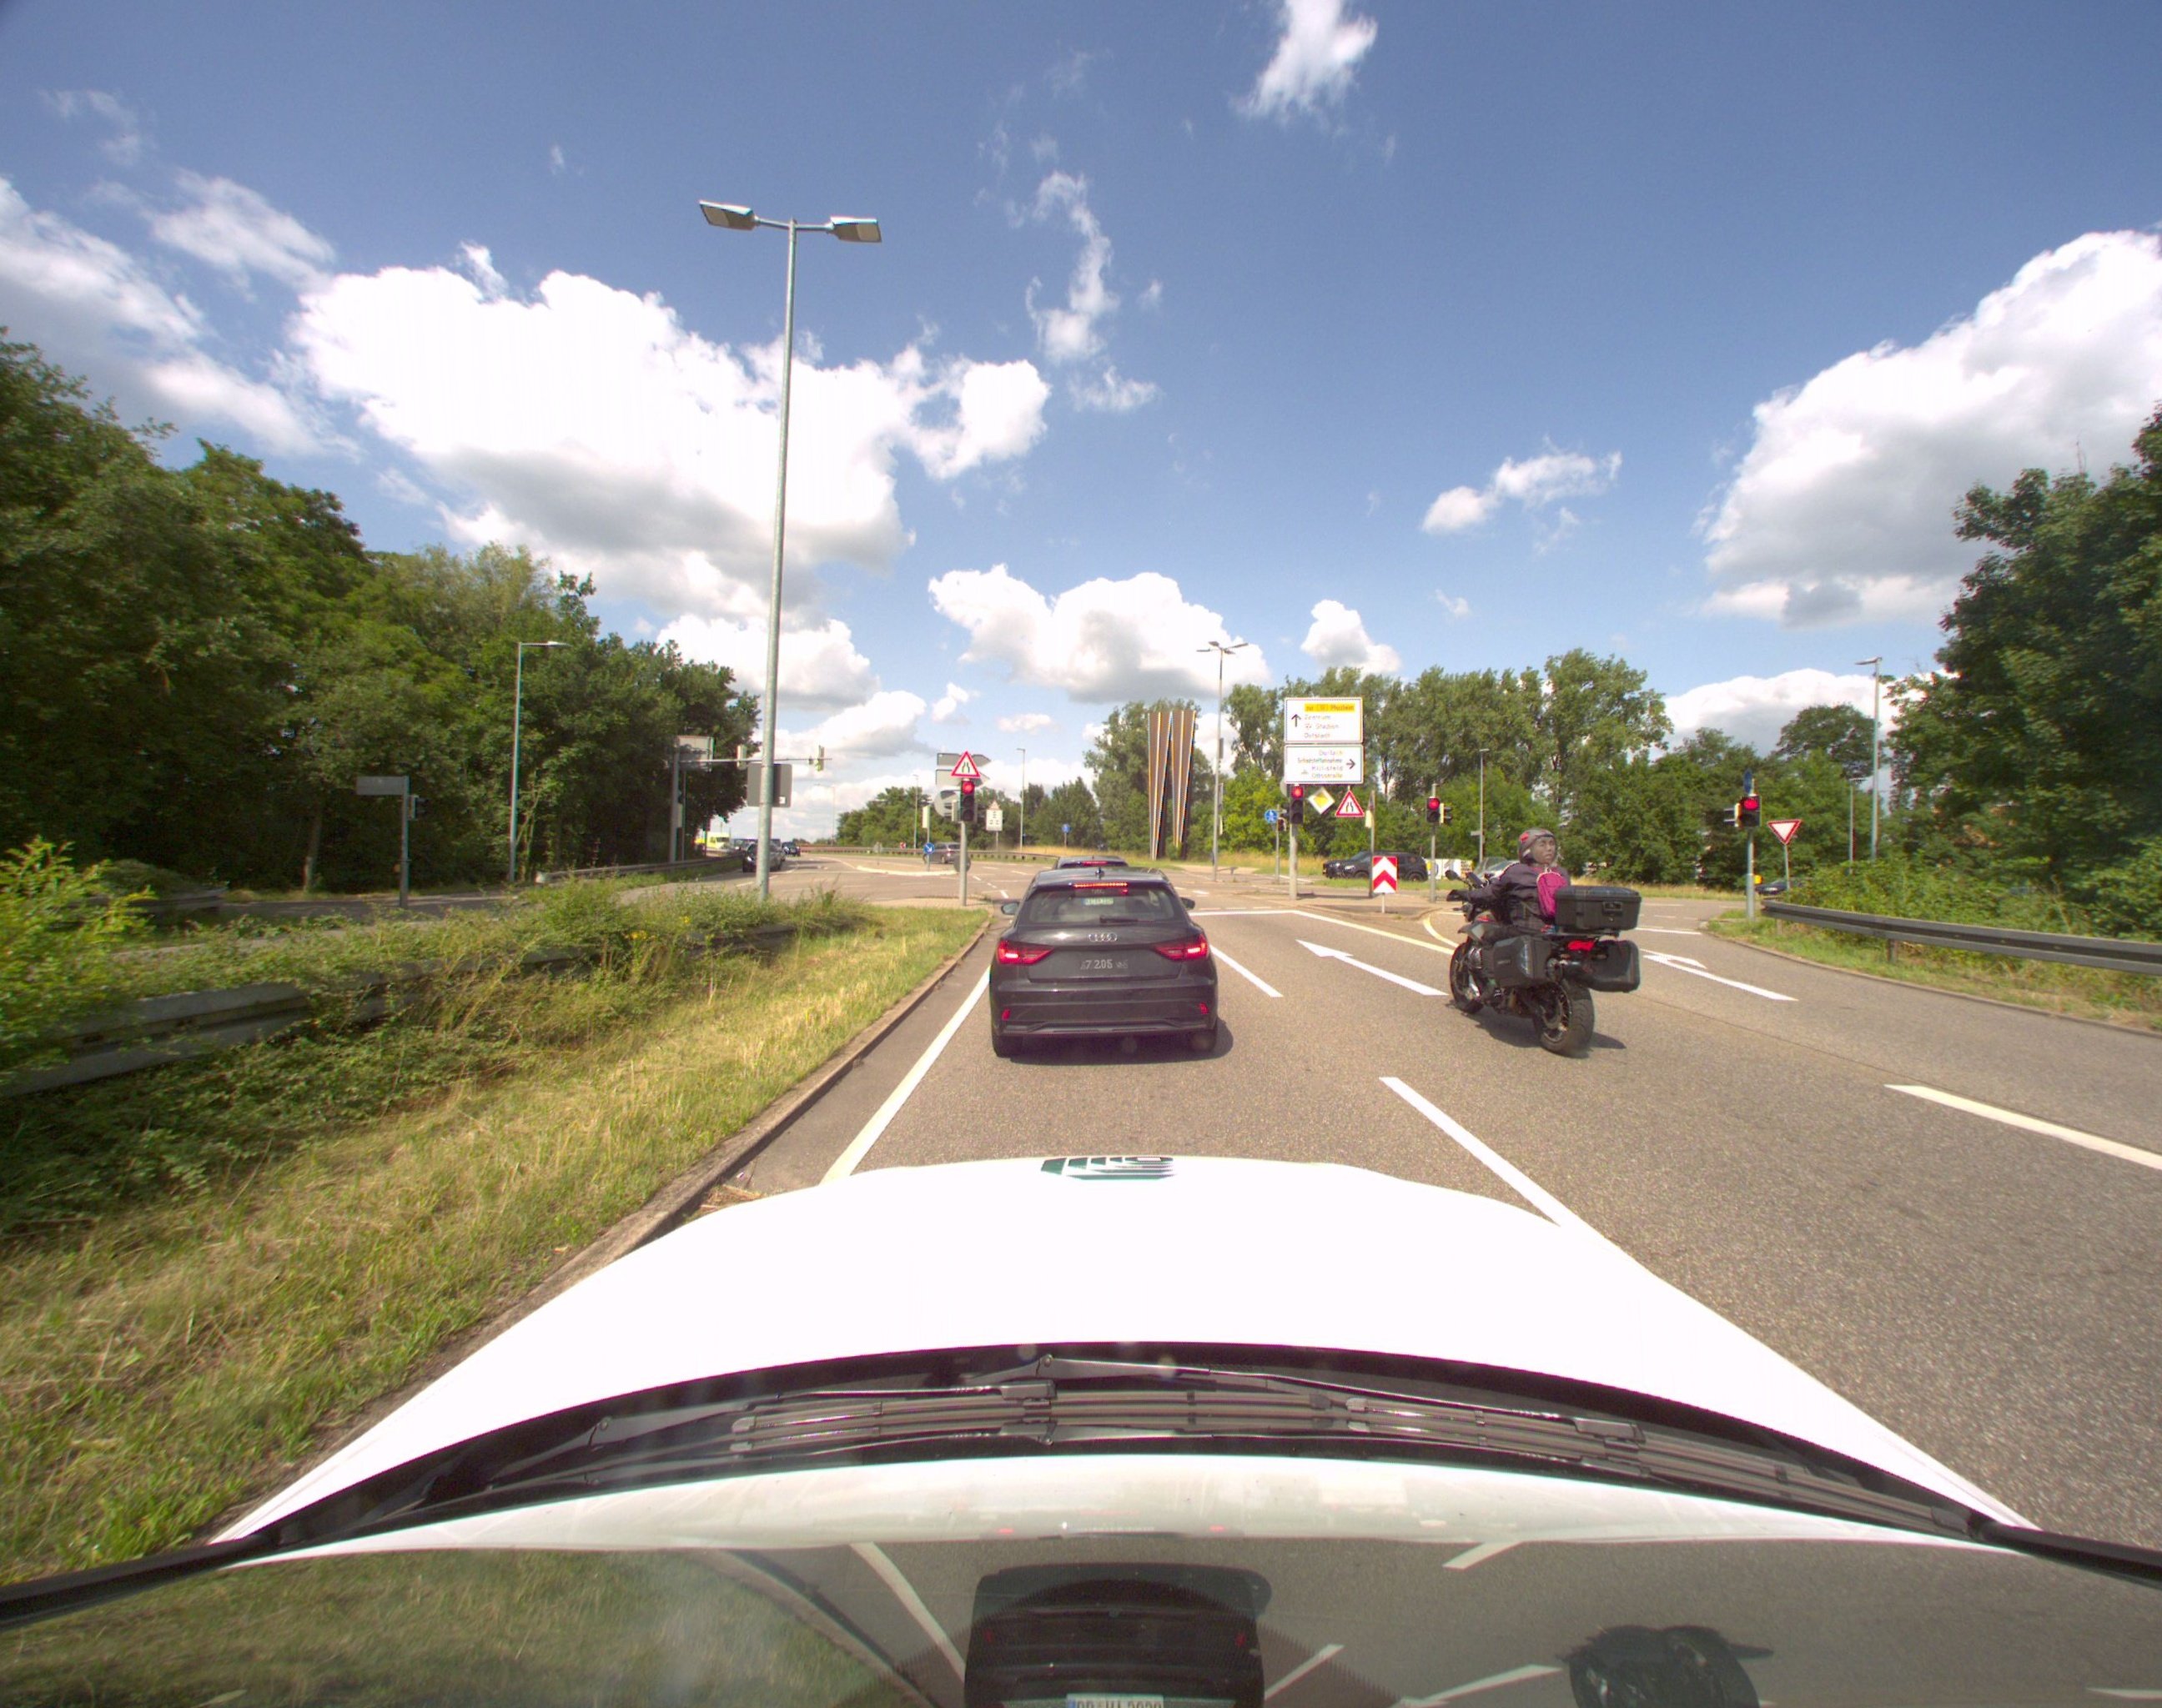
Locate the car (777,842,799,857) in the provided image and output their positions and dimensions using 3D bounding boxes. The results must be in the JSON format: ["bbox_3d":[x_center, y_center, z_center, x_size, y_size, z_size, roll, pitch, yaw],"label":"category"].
[{"bbox_3d":[-30.941,-0.506,86.014,1.741,1.496,4.011,1,0,-27],"label":"car"}]

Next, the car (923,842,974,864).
[{"bbox_3d":[-9.555,-0.086,58.632,2.009,1.496,4.075,1,0,-36],"label":"car"}]

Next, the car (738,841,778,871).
[{"bbox_3d":[-18.259,0.129,46.167,1.844,1.618,3.974,0,-1,-19],"label":"car"}]

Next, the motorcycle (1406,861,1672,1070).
[{"bbox_3d":[3.592,0.770,6.731,0.933,1.383,2.371,0,0,2],"label":"motorcycle"}]

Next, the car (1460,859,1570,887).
[{"bbox_3d":[21.115,0.908,39.708,4.460,1.320,1.736,1,0,-2],"label":"car"}]

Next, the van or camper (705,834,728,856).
[{"bbox_3d":[-46.565,-1.087,103.881,2.006,2.683,6.798,0,0,-30],"label":"van or camper"}]

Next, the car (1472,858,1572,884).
[{"bbox_3d":[23.604,0.903,43.653,4.481,1.281,1.736,1,0,-2],"label":"car"}]

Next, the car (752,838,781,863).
[{"bbox_3d":[-23.192,-0.249,60.224,1.849,1.802,4.299,1,0,-19],"label":"car"}]

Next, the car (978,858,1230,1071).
[{"bbox_3d":[0.221,0.776,7.665,1.720,1.404,4.002,-1,0,2],"label":"car"}]

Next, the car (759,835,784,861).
[{"bbox_3d":[-25.745,-0.494,67.636,1.850,2.100,4.295,1,0,-22],"label":"car"}]

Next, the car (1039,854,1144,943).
[{"bbox_3d":[0.107,0.733,15.474,1.722,1.423,3.841,-1,0,-2],"label":"car"}]

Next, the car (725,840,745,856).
[{"bbox_3d":[-38.804,-0.648,91.278,1.853,1.705,4.289,1,0,-26],"label":"car"}]

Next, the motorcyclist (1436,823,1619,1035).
[{"bbox_3d":[3.595,0.559,6.672,0.933,1.590,1.084,0,0,1],"label":"motorcyclist"}]

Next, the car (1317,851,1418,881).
[{"bbox_3d":[15.271,0.627,43.525,4.831,1.545,1.737,1,0,0],"label":"car"}]

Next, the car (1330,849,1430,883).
[{"bbox_3d":[14.527,0.570,39.688,4.253,1.545,1.737,1,0,0],"label":"car"}]
